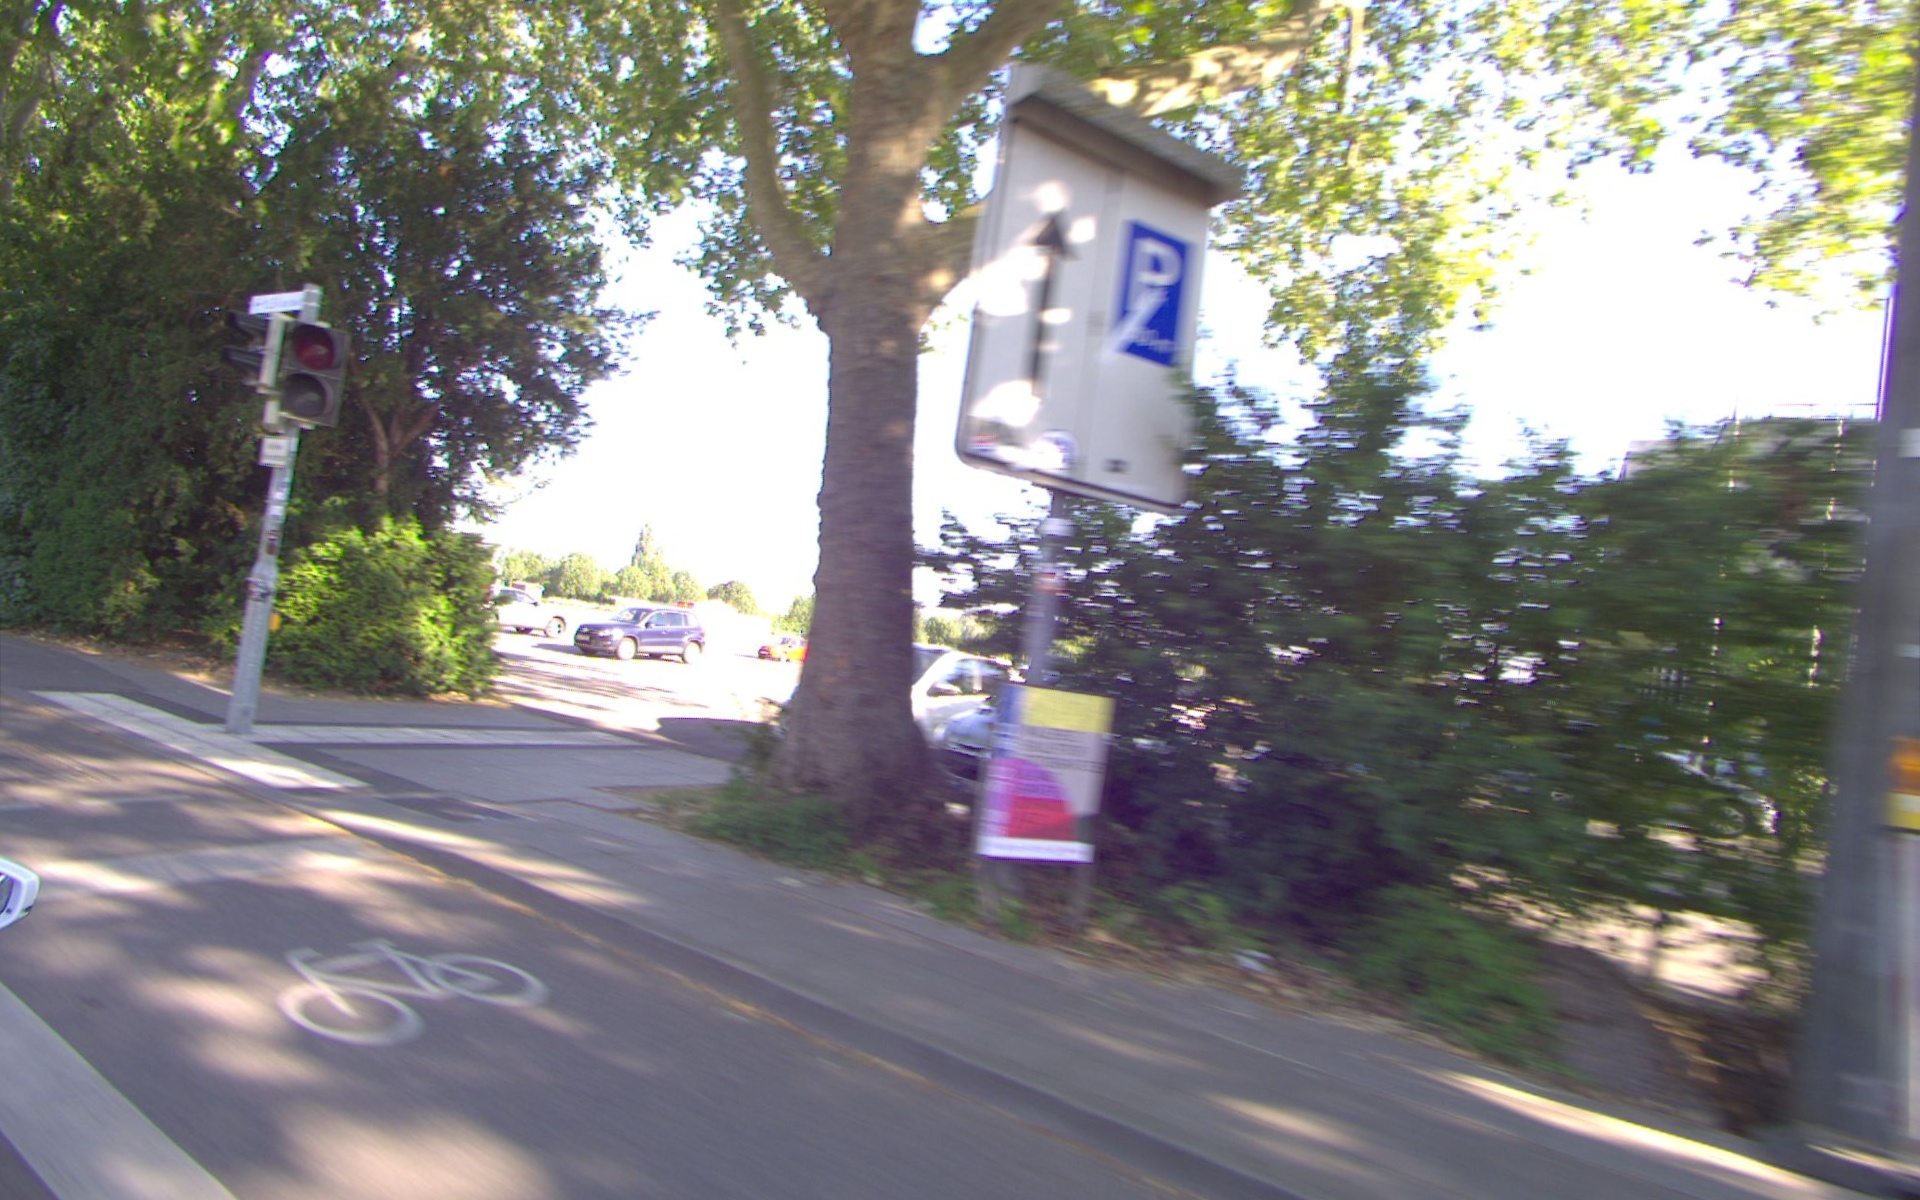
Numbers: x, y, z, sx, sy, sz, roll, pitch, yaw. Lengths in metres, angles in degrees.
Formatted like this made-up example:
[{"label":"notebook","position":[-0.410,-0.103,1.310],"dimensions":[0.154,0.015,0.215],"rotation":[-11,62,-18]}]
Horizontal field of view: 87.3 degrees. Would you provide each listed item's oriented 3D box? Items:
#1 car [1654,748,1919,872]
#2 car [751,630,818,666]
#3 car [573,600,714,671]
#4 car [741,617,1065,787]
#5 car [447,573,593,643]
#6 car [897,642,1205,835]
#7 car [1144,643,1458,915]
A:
[{"label":"car","position":[16.438,4.098,20.135],"dimensions":[3.933,1.627,1.570],"rotation":[6,-3,31]},{"label":"car","position":[-10.189,2.802,58.654],"dimensions":[1.622,1.618,3.827],"rotation":[7,-4,29]},{"label":"car","position":[-9.571,1.130,30.693],"dimensions":[1.642,1.626,3.822],"rotation":[6,-4,32]},{"label":"car","position":[-0.507,1.275,12.209],"dimensions":[1.857,1.521,3.895],"rotation":[6,-4,33]},{"label":"car","position":[-15.705,0.350,36.128],"dimensions":[1.965,1.835,4.367],"rotation":[7,-4,27]},{"label":"car","position":[1.129,1.433,10.616],"dimensions":[1.651,1.478,3.603],"rotation":[6,-4,32]},{"label":"car","position":[3.412,1.575,9.492],"dimensions":[1.803,1.783,3.997],"rotation":[6,-4,32]}]
